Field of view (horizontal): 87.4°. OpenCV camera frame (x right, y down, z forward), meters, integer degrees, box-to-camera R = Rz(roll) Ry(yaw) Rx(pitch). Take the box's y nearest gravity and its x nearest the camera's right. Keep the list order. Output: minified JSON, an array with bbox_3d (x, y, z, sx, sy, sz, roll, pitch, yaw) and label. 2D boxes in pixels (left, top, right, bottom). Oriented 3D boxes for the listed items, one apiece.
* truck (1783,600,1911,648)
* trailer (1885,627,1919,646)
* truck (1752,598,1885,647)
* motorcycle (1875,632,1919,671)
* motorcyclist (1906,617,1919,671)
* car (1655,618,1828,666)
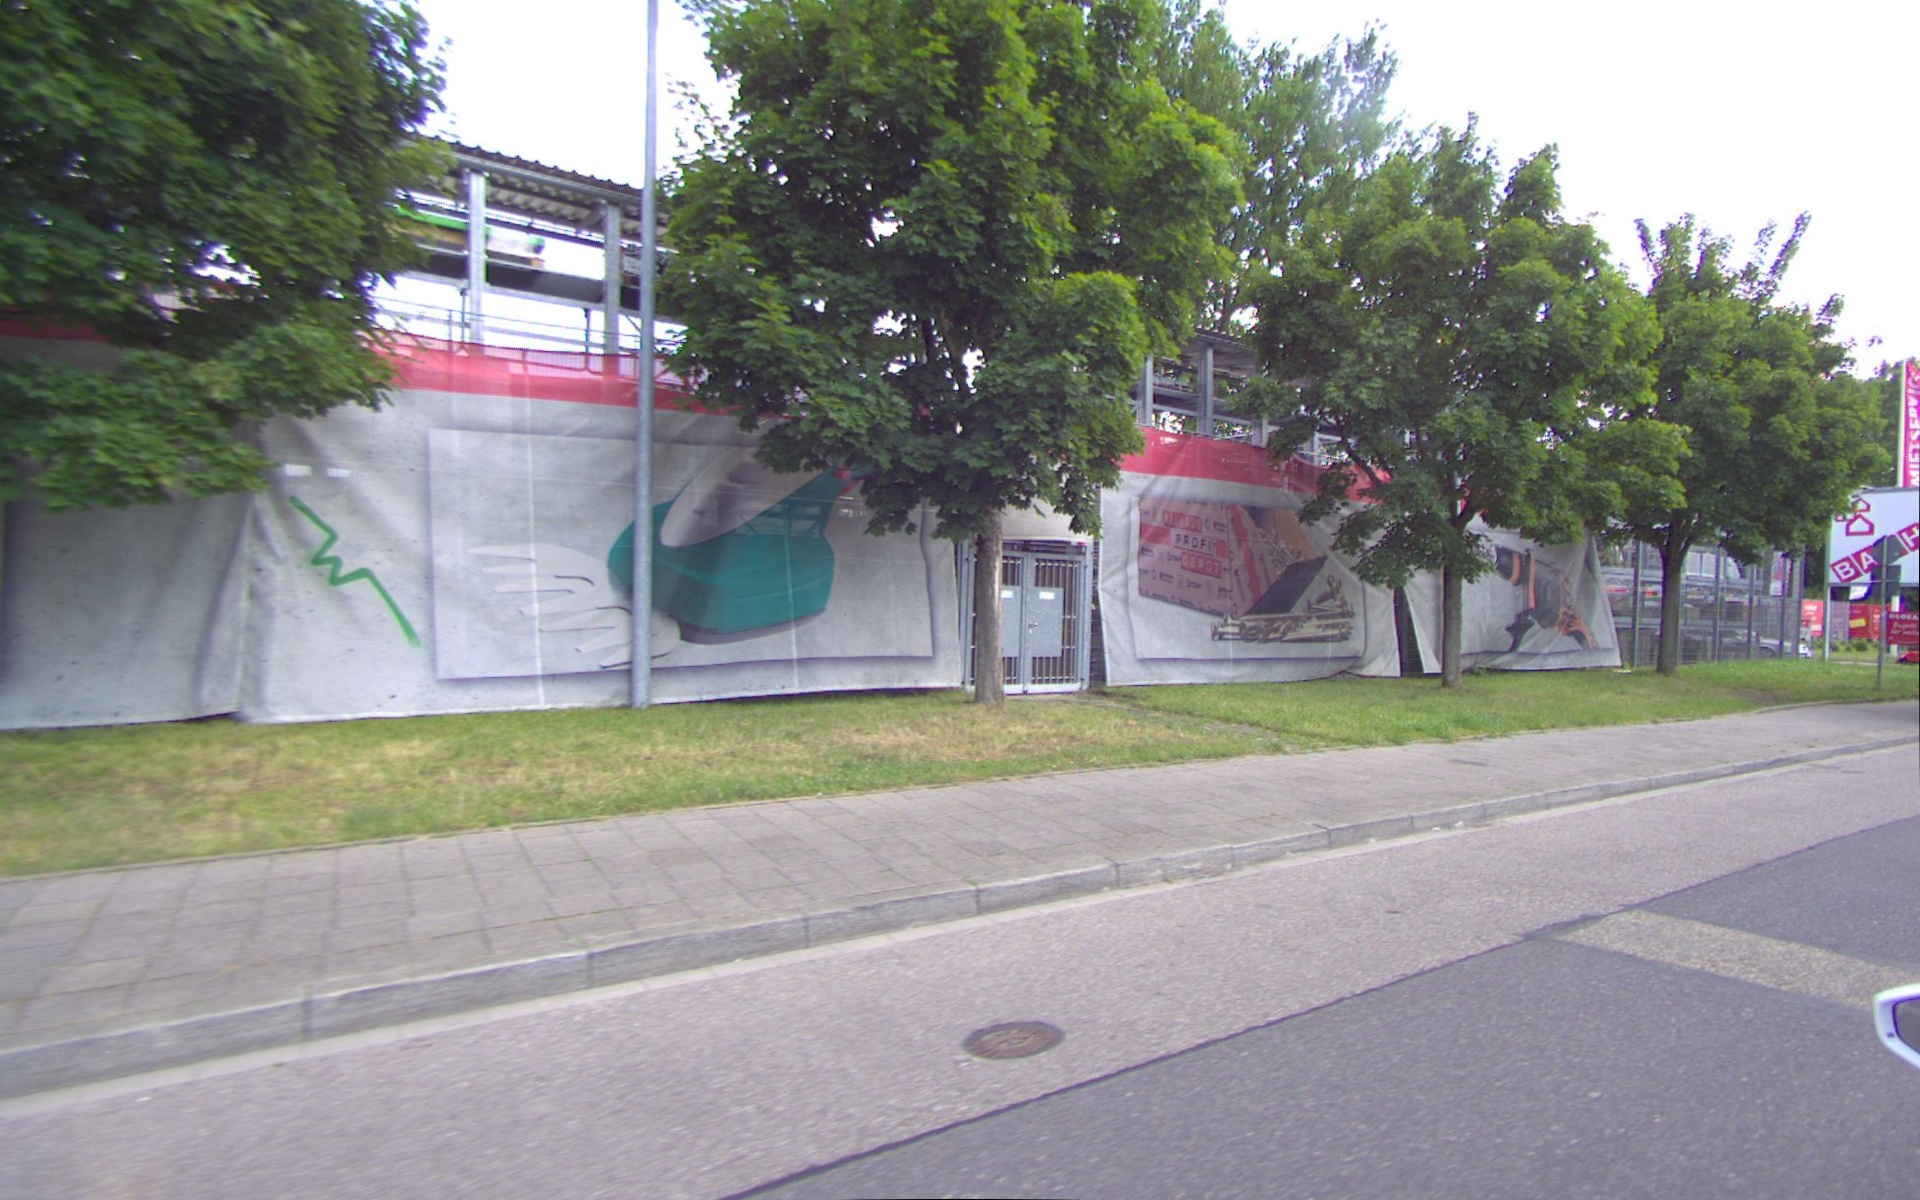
[{"bbox_3d":[53.997,1.399,61.256,1.760,2.628,5.517,3,0,-32],"label":"truck"},{"bbox_3d":[67.696,2.612,70.460,1.692,1.207,3.803,1,1,-26],"label":"trailer"},{"bbox_3d":[51.101,1.292,59.937,1.795,2.628,5.726,3,0,-30],"label":"truck"},{"bbox_3d":[31.609,1.706,32.908,0.983,1.230,2.209,1,0,-32],"label":"motorcycle"},{"bbox_3d":[31.617,1.434,32.907,0.983,1.746,0.670,1,0,-32],"label":"motorcyclist"},{"bbox_3d":[28.877,1.512,37.279,1.932,1.473,4.659,1,0,-31],"label":"car"}]
